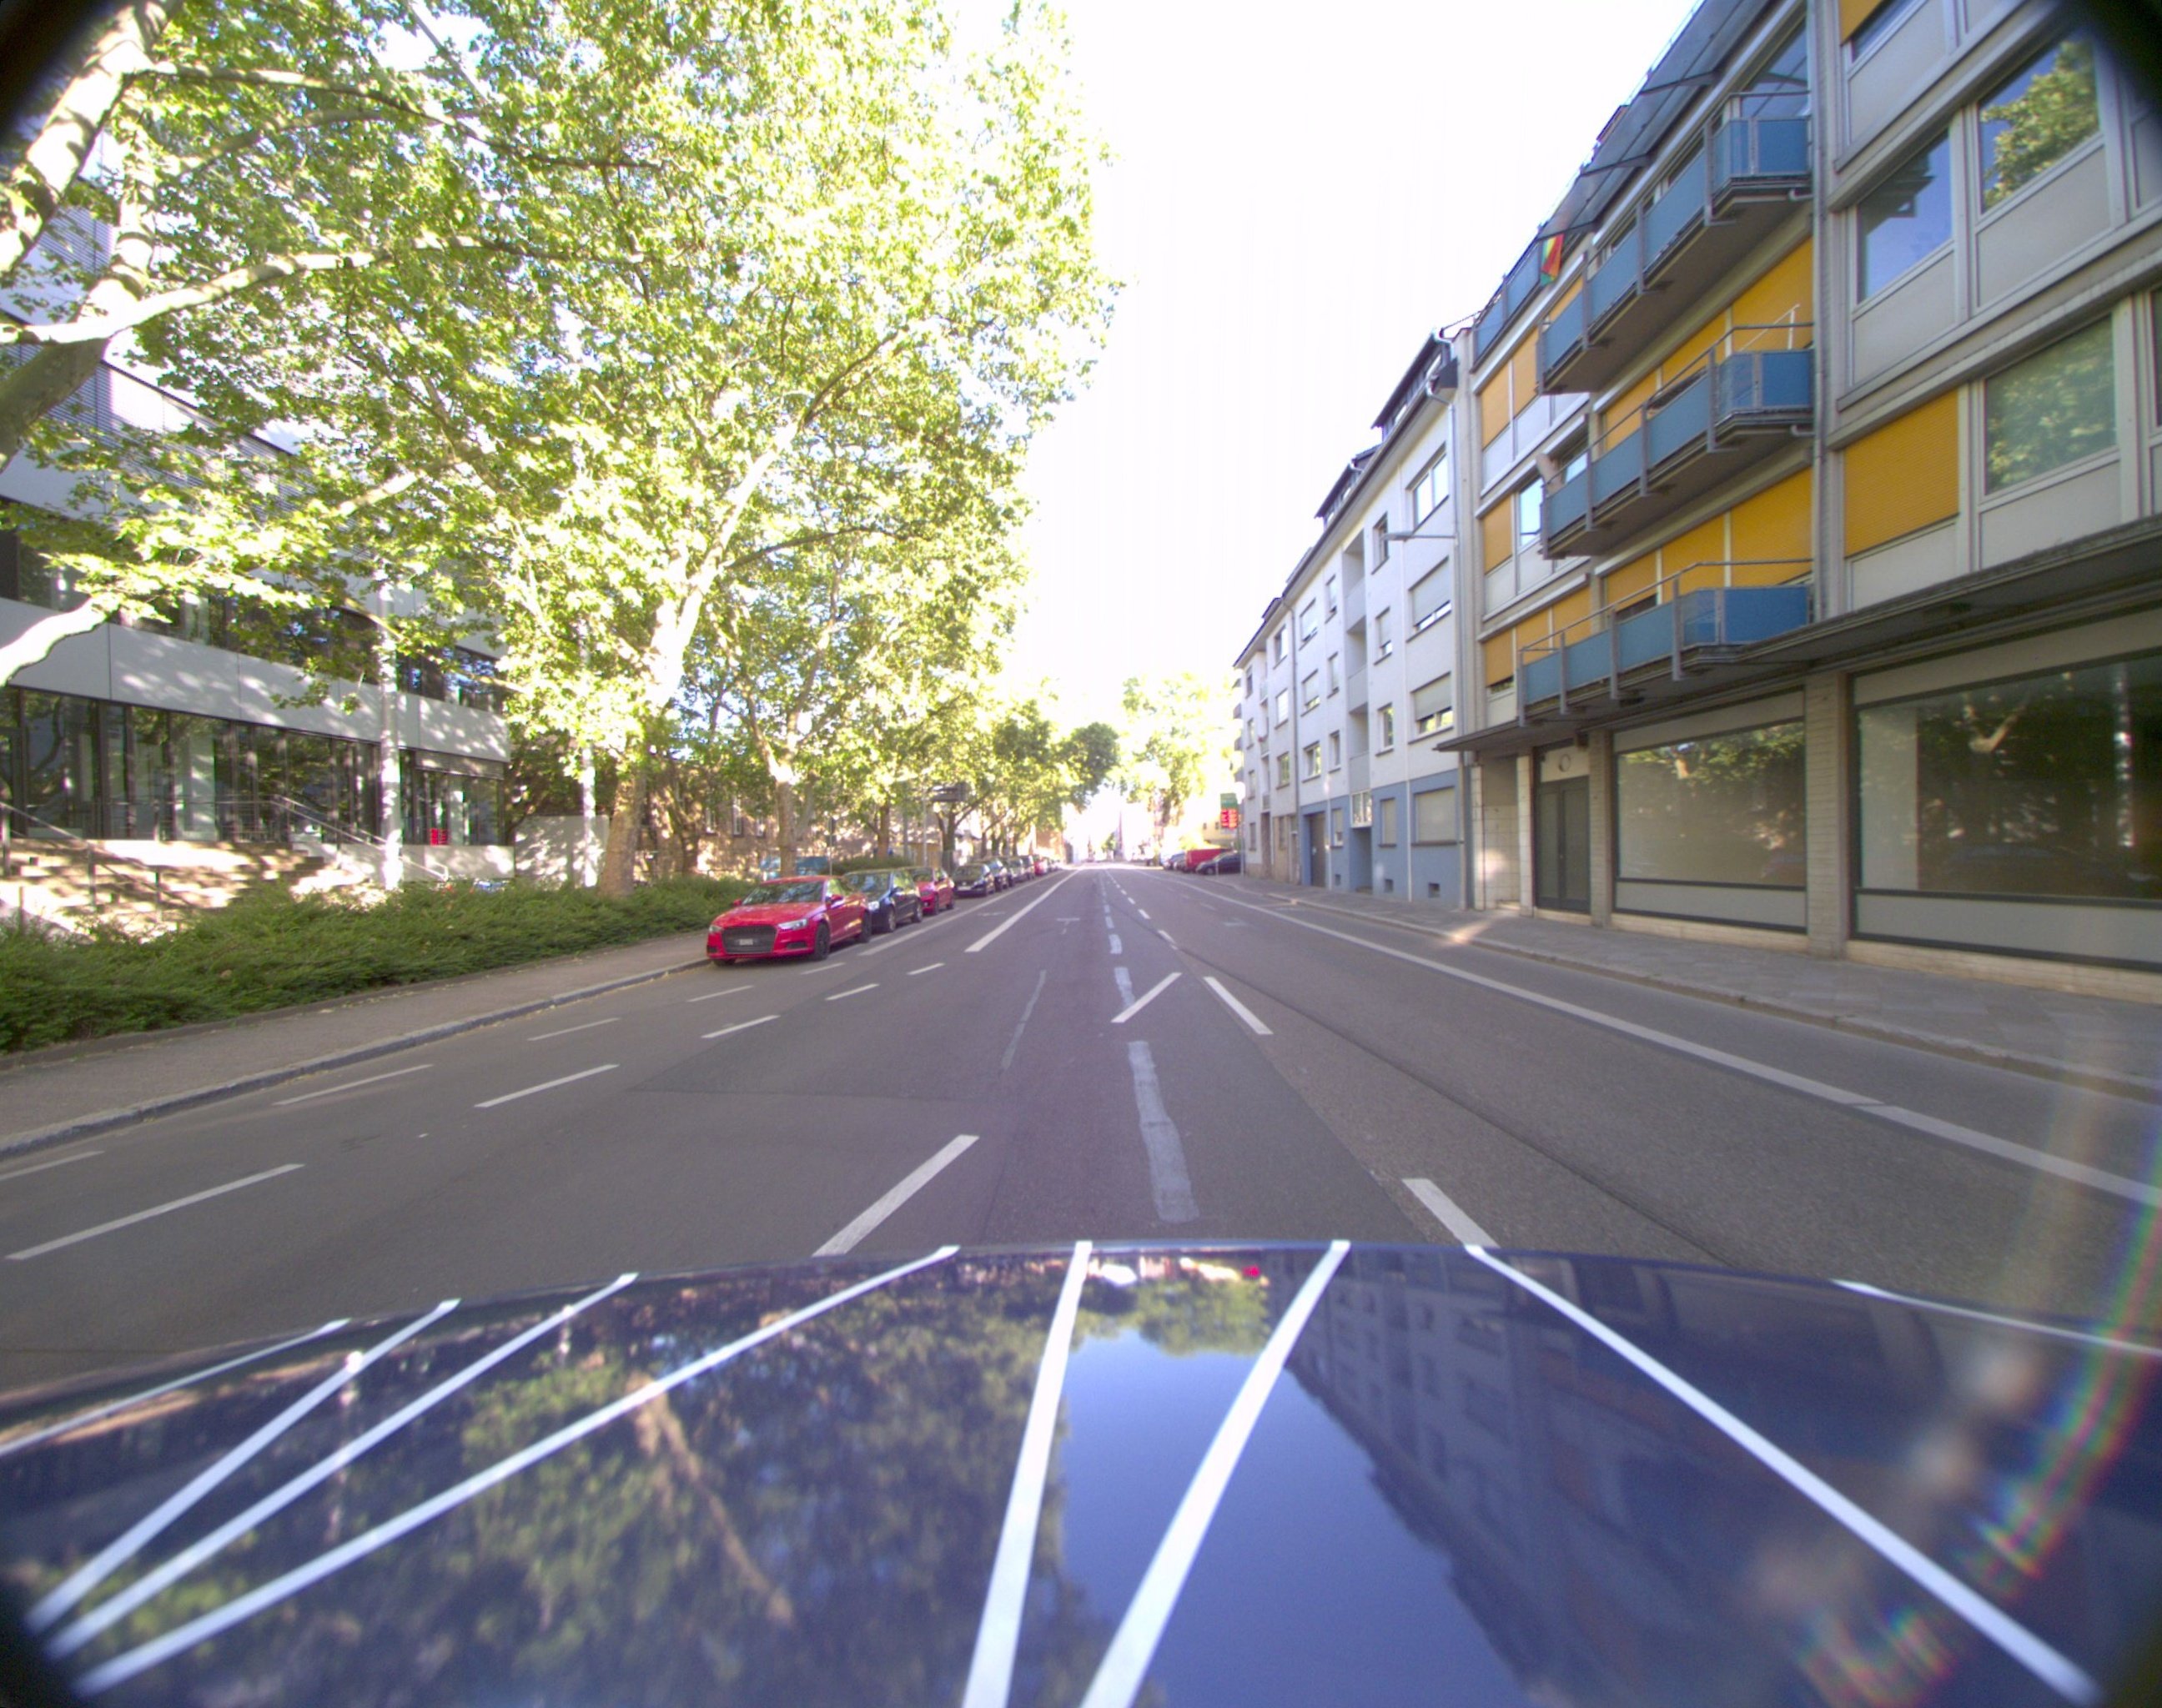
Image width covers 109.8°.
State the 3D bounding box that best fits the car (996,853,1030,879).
[{"bbox_3d":[-4.439,0.741,50.460,1.798,1.608,4.075,-1,0,1],"label":"car"}]

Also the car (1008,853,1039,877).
[{"bbox_3d":[-4.168,0.752,55.516,1.831,1.608,4.177,-1,0,1],"label":"car"}]

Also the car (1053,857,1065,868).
[{"bbox_3d":[-2.626,1.031,92.314,1.300,1.220,3.241,-1,0,0],"label":"car"}]

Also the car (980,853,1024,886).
[{"bbox_3d":[-4.543,0.869,44.199,1.998,1.715,4.262,-2,1,1],"label":"car"}]

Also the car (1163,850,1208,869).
[{"bbox_3d":[10.089,0.551,73.373,3.998,1.618,1.702,-2,1,-5],"label":"car"}]

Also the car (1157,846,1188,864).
[{"bbox_3d":[10.232,0.106,85.273,3.267,1.927,1.693,-2,1,2],"label":"car"}]

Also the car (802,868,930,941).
[{"bbox_3d":[-5.060,1.133,18.473,1.813,1.449,4.000,-1,0,2],"label":"car"}]

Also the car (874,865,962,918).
[{"bbox_3d":[-4.980,1.100,23.733,1.790,1.429,4.000,-1,0,1],"label":"car"}]

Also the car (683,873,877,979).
[{"bbox_3d":[-5.137,1.143,13.645,1.775,1.416,4.173,-3,0,0],"label":"car"}]

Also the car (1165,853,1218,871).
[{"bbox_3d":[9.108,0.622,62.814,4.033,1.265,1.906,-2,1,-1],"label":"car"}]

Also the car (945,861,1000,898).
[{"bbox_3d":[-4.675,1.083,33.270,1.745,1.430,4.000,-1,0,1],"label":"car"}]

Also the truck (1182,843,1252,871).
[{"bbox_3d":[10.728,0.235,60.102,5.088,2.009,2.000,-2,1,0],"label":"truck"}]

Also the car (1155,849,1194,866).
[{"bbox_3d":[9.616,0.376,78.575,3.703,1.573,1.718,-2,1,-5],"label":"car"}]

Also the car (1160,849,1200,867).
[{"bbox_3d":[9.881,0.380,75.917,3.658,1.578,1.659,-2,1,-5],"label":"car"}]

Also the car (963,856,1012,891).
[{"bbox_3d":[-4.621,0.922,38.216,1.848,1.572,4.232,-2,0,1],"label":"car"}]

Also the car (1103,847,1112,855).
[{"bbox_3d":[6.765,-0.793,193.468,1.998,2.002,3.999,-2,1,1],"label":"car"}]

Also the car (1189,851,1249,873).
[{"bbox_3d":[9.938,0.549,54.850,3.997,1.385,1.781,-2,1,-1],"label":"car"}]

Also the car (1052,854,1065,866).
[{"bbox_3d":[-3.034,0.824,102.720,1.707,1.459,3.809,-1,0,0],"label":"car"}]

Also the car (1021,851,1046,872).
[{"bbox_3d":[-4.106,0.617,66.186,1.876,1.685,4.166,-1,0,1],"label":"car"}]

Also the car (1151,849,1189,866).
[{"bbox_3d":[9.487,0.372,80.866,3.728,1.579,1.743,-2,1,-5],"label":"car"}]
